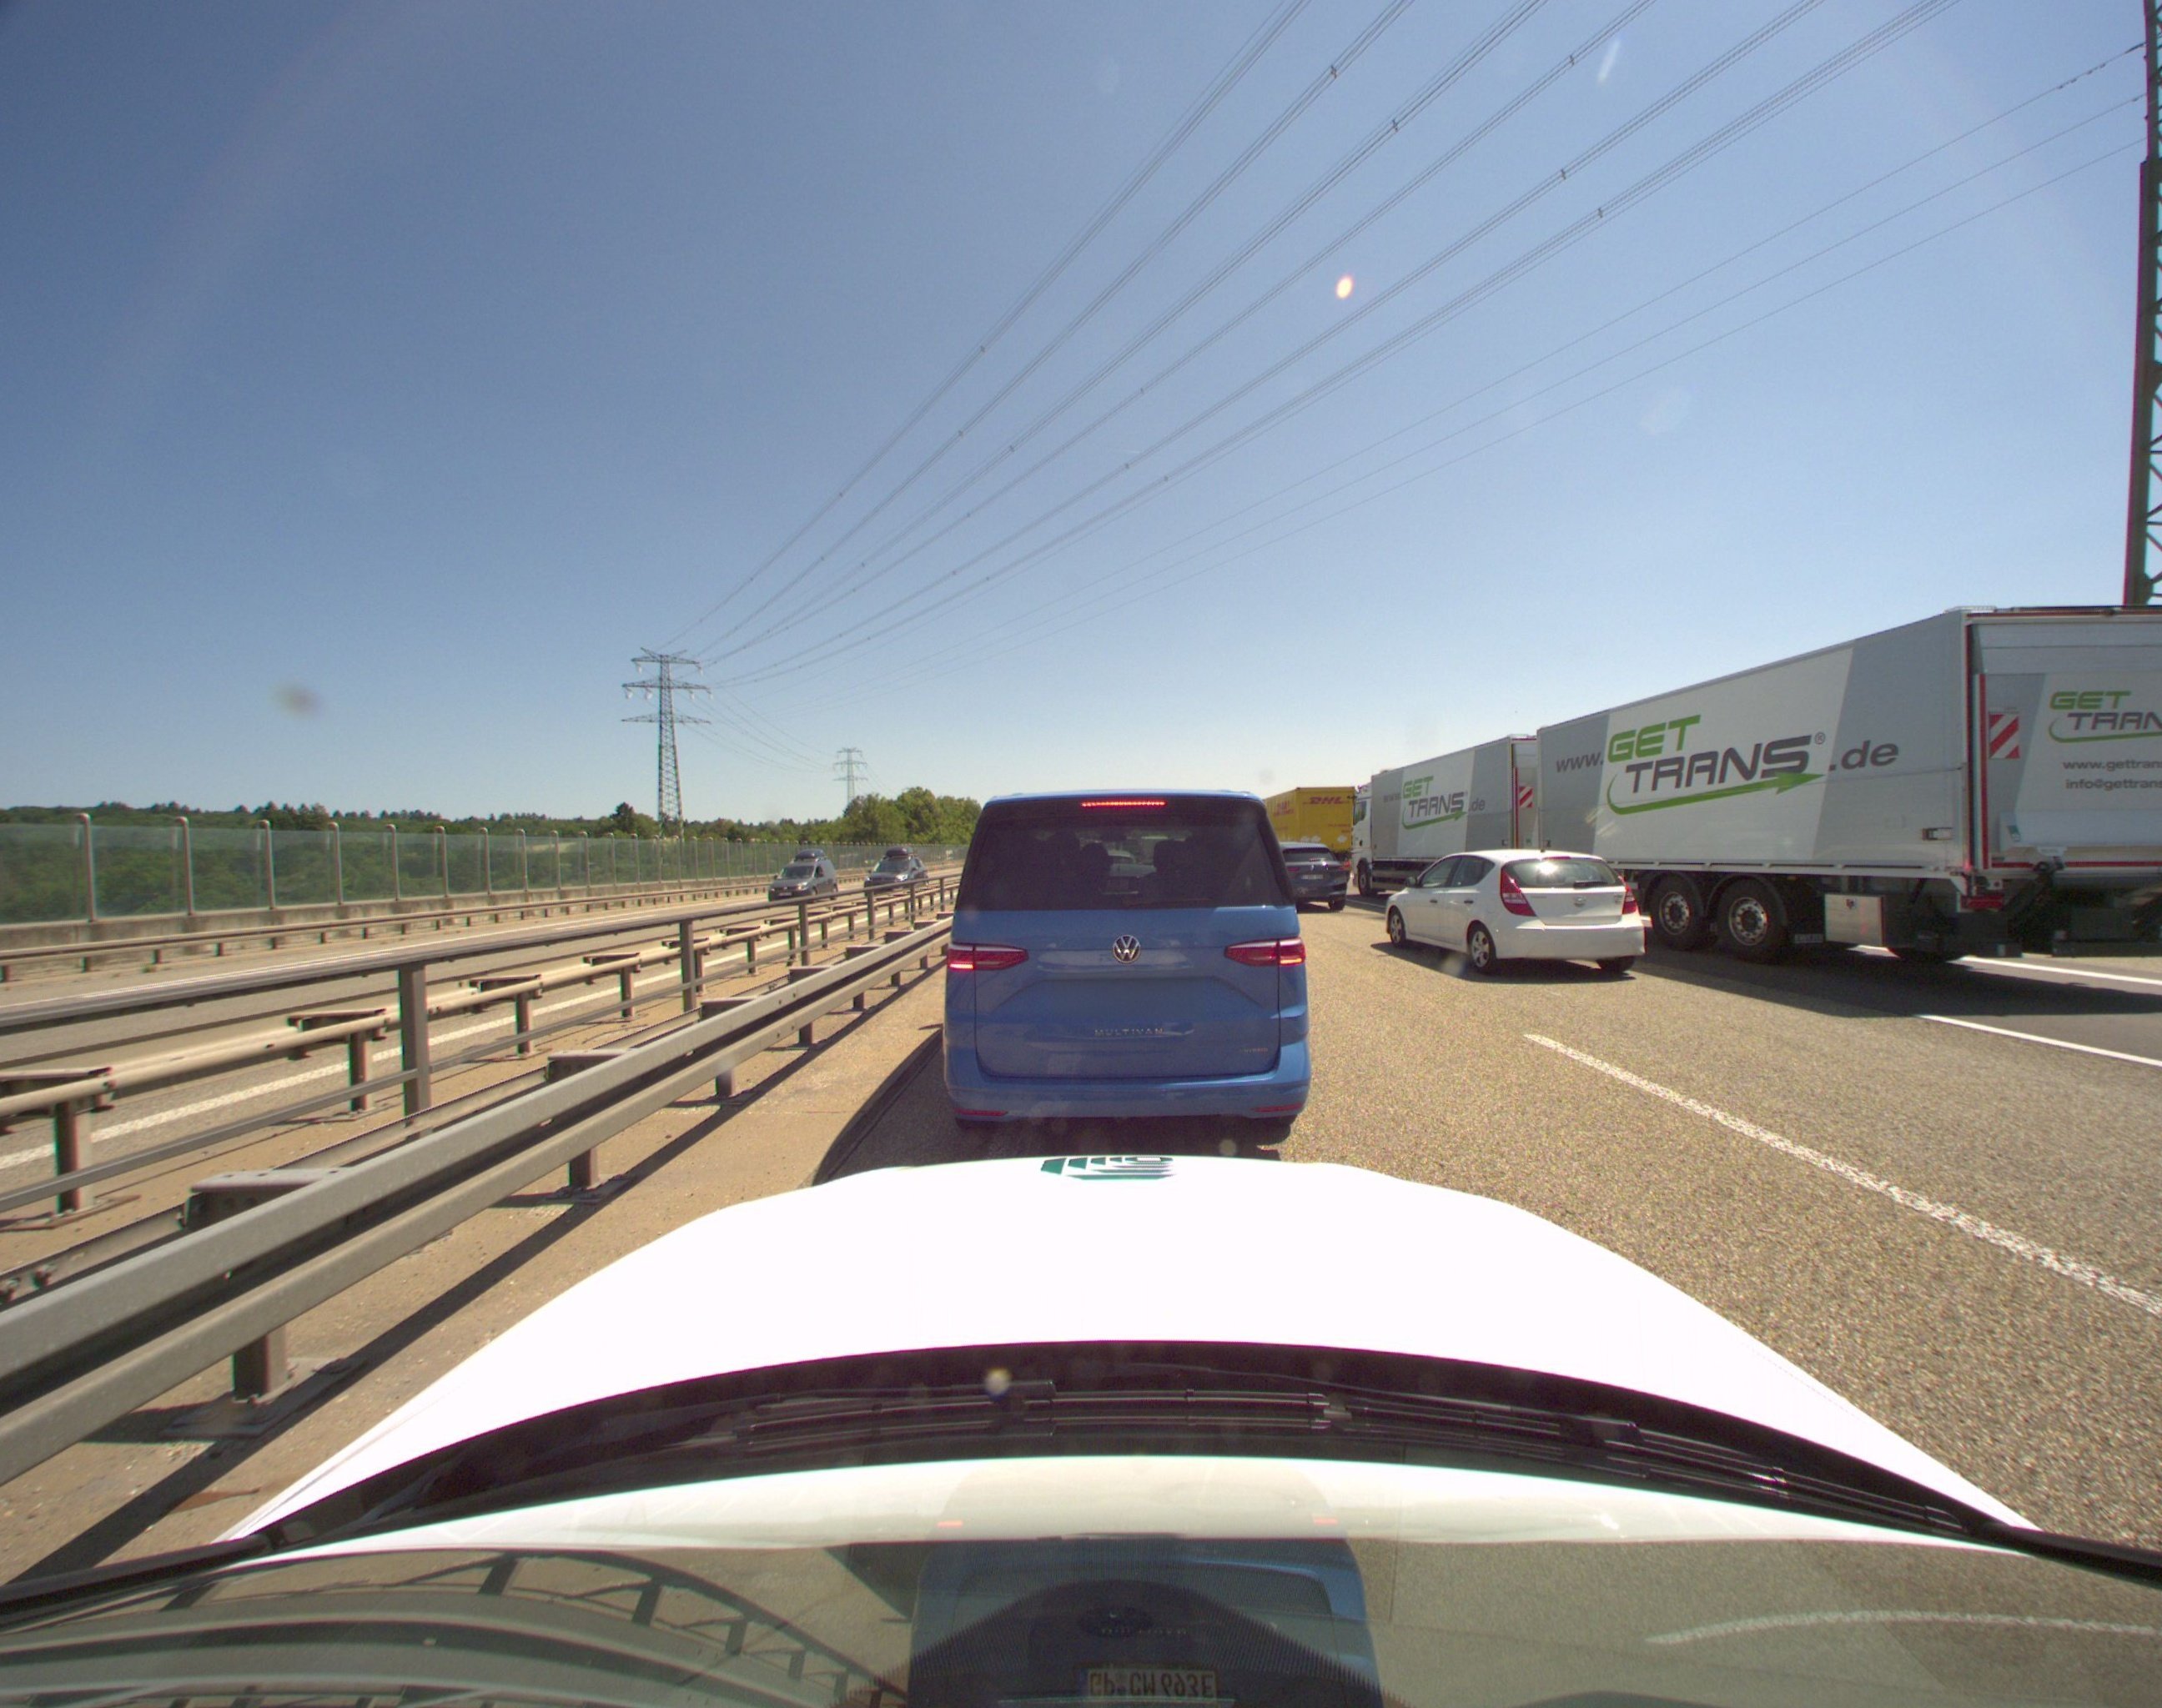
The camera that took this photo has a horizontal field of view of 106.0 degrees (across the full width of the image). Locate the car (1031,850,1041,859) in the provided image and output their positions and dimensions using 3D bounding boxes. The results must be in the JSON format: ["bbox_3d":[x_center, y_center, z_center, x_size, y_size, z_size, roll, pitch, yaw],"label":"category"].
[{"bbox_3d":[-12.116,0.072,220.563,2.074,2.149,4.314,-4,0,2],"label":"car"}]

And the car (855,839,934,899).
[{"bbox_3d":[-7.384,0.564,32.707,1.856,2.131,4.271,-4,0,2],"label":"car"}]

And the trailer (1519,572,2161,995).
[{"bbox_3d":[9.488,-0.656,11.203,2.688,3.700,8.017,-2,0,1],"label":"trailer"}]

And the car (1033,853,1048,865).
[{"bbox_3d":[-5.377,0.622,109.564,1.613,1.464,3.703,-3,0,2],"label":"car"}]

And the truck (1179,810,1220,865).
[{"bbox_3d":[10.073,-1.341,69.803,2.657,4.484,6.853,-1,0,2],"label":"truck"}]

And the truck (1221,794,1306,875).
[{"bbox_3d":[10.530,-1.031,48.386,2.826,4.243,11.014,-1,0,1],"label":"truck"}]

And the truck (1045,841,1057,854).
[{"bbox_3d":[-8.005,-1.672,216.284,2.553,3.359,8.863,-3,0,0],"label":"truck"}]

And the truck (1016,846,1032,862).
[{"bbox_3d":[-12.189,0.064,174.206,2.510,3.110,8.724,-5,0,1],"label":"truck"}]

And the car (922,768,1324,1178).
[{"bbox_3d":[0.259,0.545,5.751,1.813,1.857,4.076,-1,0,2],"label":"car"}]

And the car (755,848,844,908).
[{"bbox_3d":[-11.631,0.924,33.993,1.986,2.215,4.269,-4,0,1],"label":"car"}]

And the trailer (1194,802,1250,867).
[{"bbox_3d":[10.676,-1.361,62.651,2.627,4.516,11.306,-1,0,2],"label":"trailer"}]

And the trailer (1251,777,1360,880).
[{"bbox_3d":[10.283,-1.042,38.355,2.854,4.239,9.015,-1,0,2],"label":"trailer"}]

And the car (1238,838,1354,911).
[{"bbox_3d":[5.418,0.469,21.081,1.954,1.644,4.295,-1,0,2],"label":"car"}]

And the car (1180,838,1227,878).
[{"bbox_3d":[6.497,0.214,43.574,1.954,1.993,4.295,-1,0,2],"label":"car"}]

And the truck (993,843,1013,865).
[{"bbox_3d":[-12.844,-0.036,134.557,2.488,3.365,5.836,-4,0,2],"label":"truck"}]

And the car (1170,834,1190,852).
[{"bbox_3d":[11.823,-1.336,97.483,1.986,2.013,4.463,-2,0,2],"label":"car"}]

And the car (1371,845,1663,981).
[{"bbox_3d":[5.561,0.642,11.112,1.782,1.455,4.295,-1,0,2],"label":"car"}]

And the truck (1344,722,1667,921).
[{"bbox_3d":[9.711,-0.626,20.723,2.647,3.648,11.014,-2,0,1],"label":"truck"}]

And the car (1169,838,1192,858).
[{"bbox_3d":[10.140,-0.583,83.434,1.986,2.013,4.002,-1,0,2],"label":"car"}]
